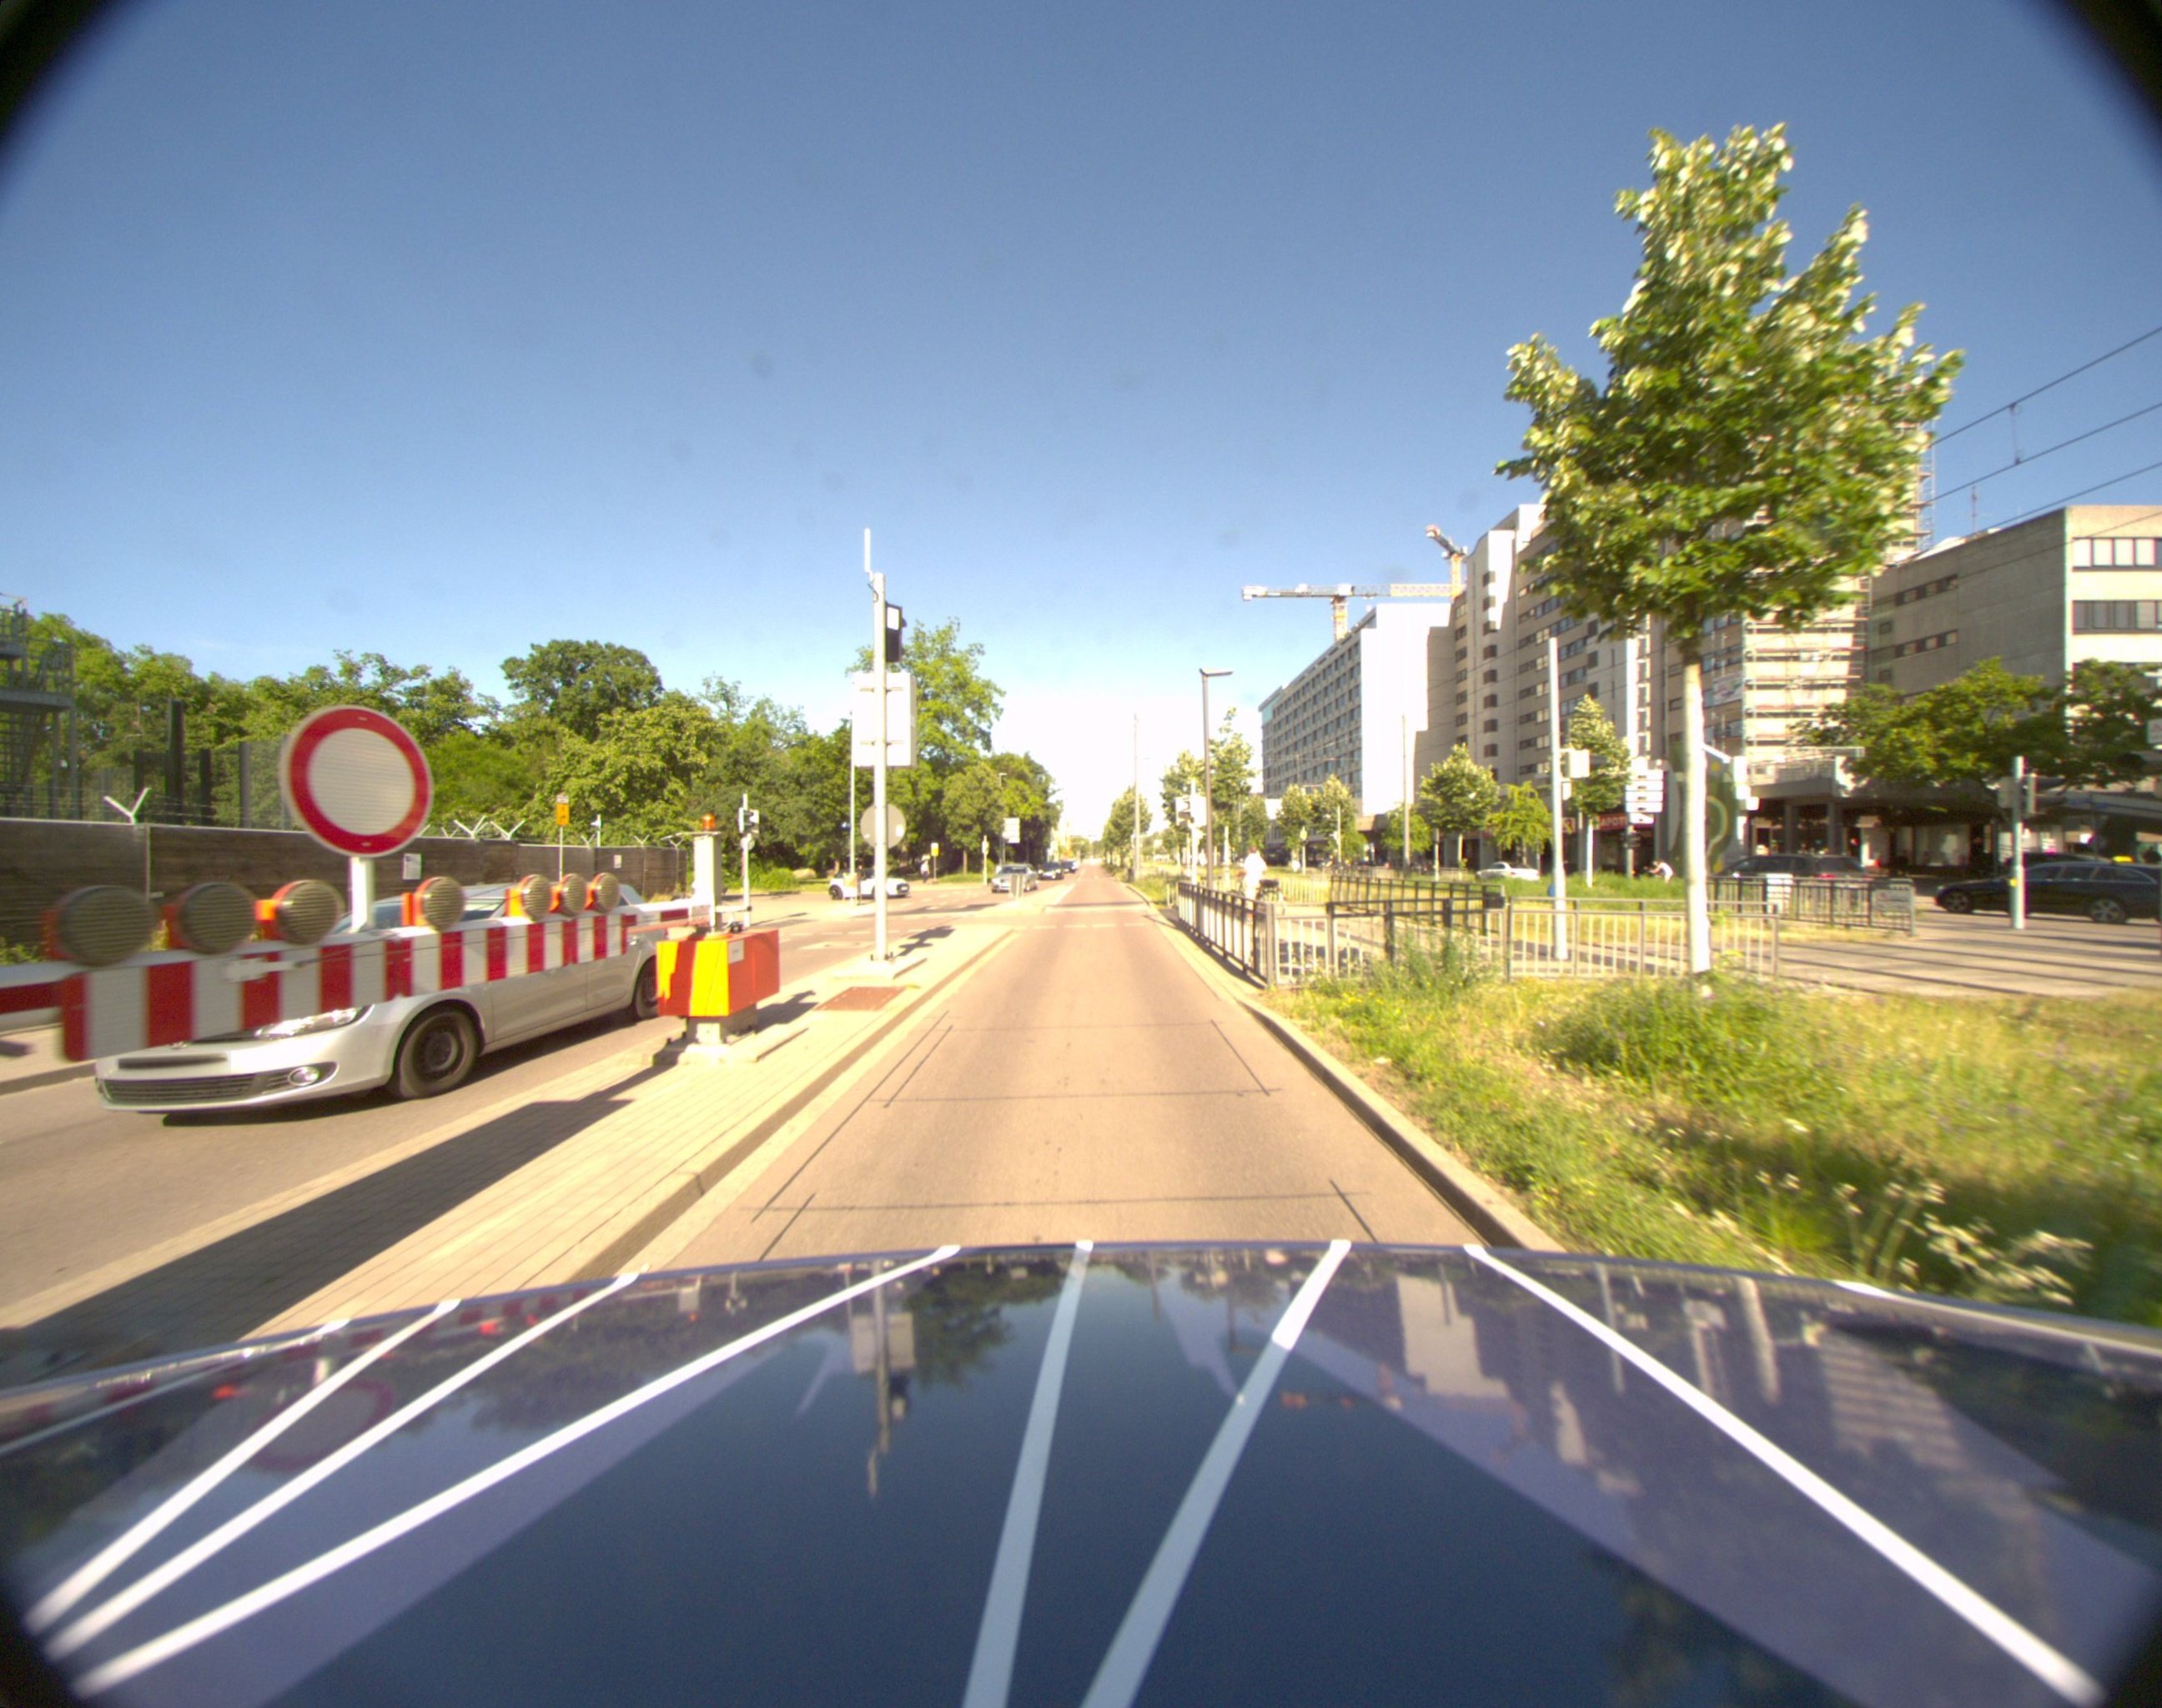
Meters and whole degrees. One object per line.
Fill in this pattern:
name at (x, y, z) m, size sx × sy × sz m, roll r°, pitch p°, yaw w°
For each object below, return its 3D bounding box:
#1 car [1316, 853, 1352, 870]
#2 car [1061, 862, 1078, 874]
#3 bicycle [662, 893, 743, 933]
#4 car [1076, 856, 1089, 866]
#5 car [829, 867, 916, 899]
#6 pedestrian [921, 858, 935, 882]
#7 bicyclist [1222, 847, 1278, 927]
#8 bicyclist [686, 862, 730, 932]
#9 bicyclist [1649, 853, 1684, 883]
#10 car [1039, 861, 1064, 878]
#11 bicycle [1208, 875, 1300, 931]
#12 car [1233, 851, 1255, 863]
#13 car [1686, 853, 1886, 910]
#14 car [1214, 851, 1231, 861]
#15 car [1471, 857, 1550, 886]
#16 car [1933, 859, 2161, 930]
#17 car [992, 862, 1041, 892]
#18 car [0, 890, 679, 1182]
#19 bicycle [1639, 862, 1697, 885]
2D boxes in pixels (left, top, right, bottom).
car at (24.439, 0.686, 73.638) m, size 1.914 × 1.561 × 4.593 m, roll -1°, pitch 0°, yaw -1°
car at (-1.373, 1.665, 90.612) m, size 1.829 × 1.328 × 4.000 m, roll -1°, pitch 0°, yaw 1°
bicycle at (-9.397, 1.454, 18.880) m, size 1.859 × 0.896 × 0.493 m, roll 2°, pitch 0°, yaw 11°
car at (0.252, 1.027, 111.354) m, size 1.829 × 1.328 × 4.000 m, roll -1°, pitch 0°, yaw 1°
car at (-9.648, 1.339, 35.169) m, size 3.734 × 1.393 × 1.483 m, roll -1°, pitch 0°, yaw 22°
pedestrian at (-11.099, 1.146, 55.036) m, size 0.646 × 1.739 × 0.713 m, roll -1°, pitch 2°, yaw 43°
bicyclist at (3.691, 0.694, 16.646) m, size 0.861 × 1.677 × 0.818 m, roll -1°, pitch 1°, yaw -34°
bicyclist at (-9.249, 1.049, 18.858) m, size 0.698 × 1.700 × 0.660 m, roll 2°, pitch 0°, yaw 11°
bicyclist at (29.672, 0.693, 38.514) m, size 0.667 × 1.485 × 1.389 m, roll -1°, pitch 0°, yaw -3°
car at (-2.414, 1.248, 62.895) m, size 1.829 × 1.328 × 4.000 m, roll -1°, pitch 0°, yaw 1°
bicycle at (3.740, 1.032, 16.583) m, size 0.726 × 1.050 × 1.978 m, roll -3°, pitch 2°, yaw -34°
car at (21.875, 0.344, 102.228) m, size 1.914 × 1.561 × 4.593 m, roll -1°, pitch 0°, yaw -1°
car at (21.797, 0.773, 23.808) m, size 1.914 × 1.587 × 4.655 m, roll -1°, pitch 0°, yaw -1°
car at (22.644, 0.363, 121.764) m, size 1.914 × 1.561 × 4.593 m, roll -1°, pitch 0°, yaw -1°
car at (24.595, 0.965, 43.730) m, size 1.914 × 1.561 × 4.655 m, roll -1°, pitch 0°, yaw -1°
car at (24.731, 0.909, 18.865) m, size 1.914 × 1.494 × 4.655 m, roll -1°, pitch 0°, yaw -1°
car at (-3.259, 1.141, 39.208) m, size 1.837 × 1.393 × 4.300 m, roll -1°, pitch 0°, yaw 4°
car at (-5.273, 1.131, 6.308) m, size 1.671 × 1.427 × 3.973 m, roll -2°, pitch 0°, yaw 1°
bicycle at (29.656, 0.975, 38.459) m, size 0.636 × 1.070 × 2.841 m, roll -1°, pitch 0°, yaw -3°
